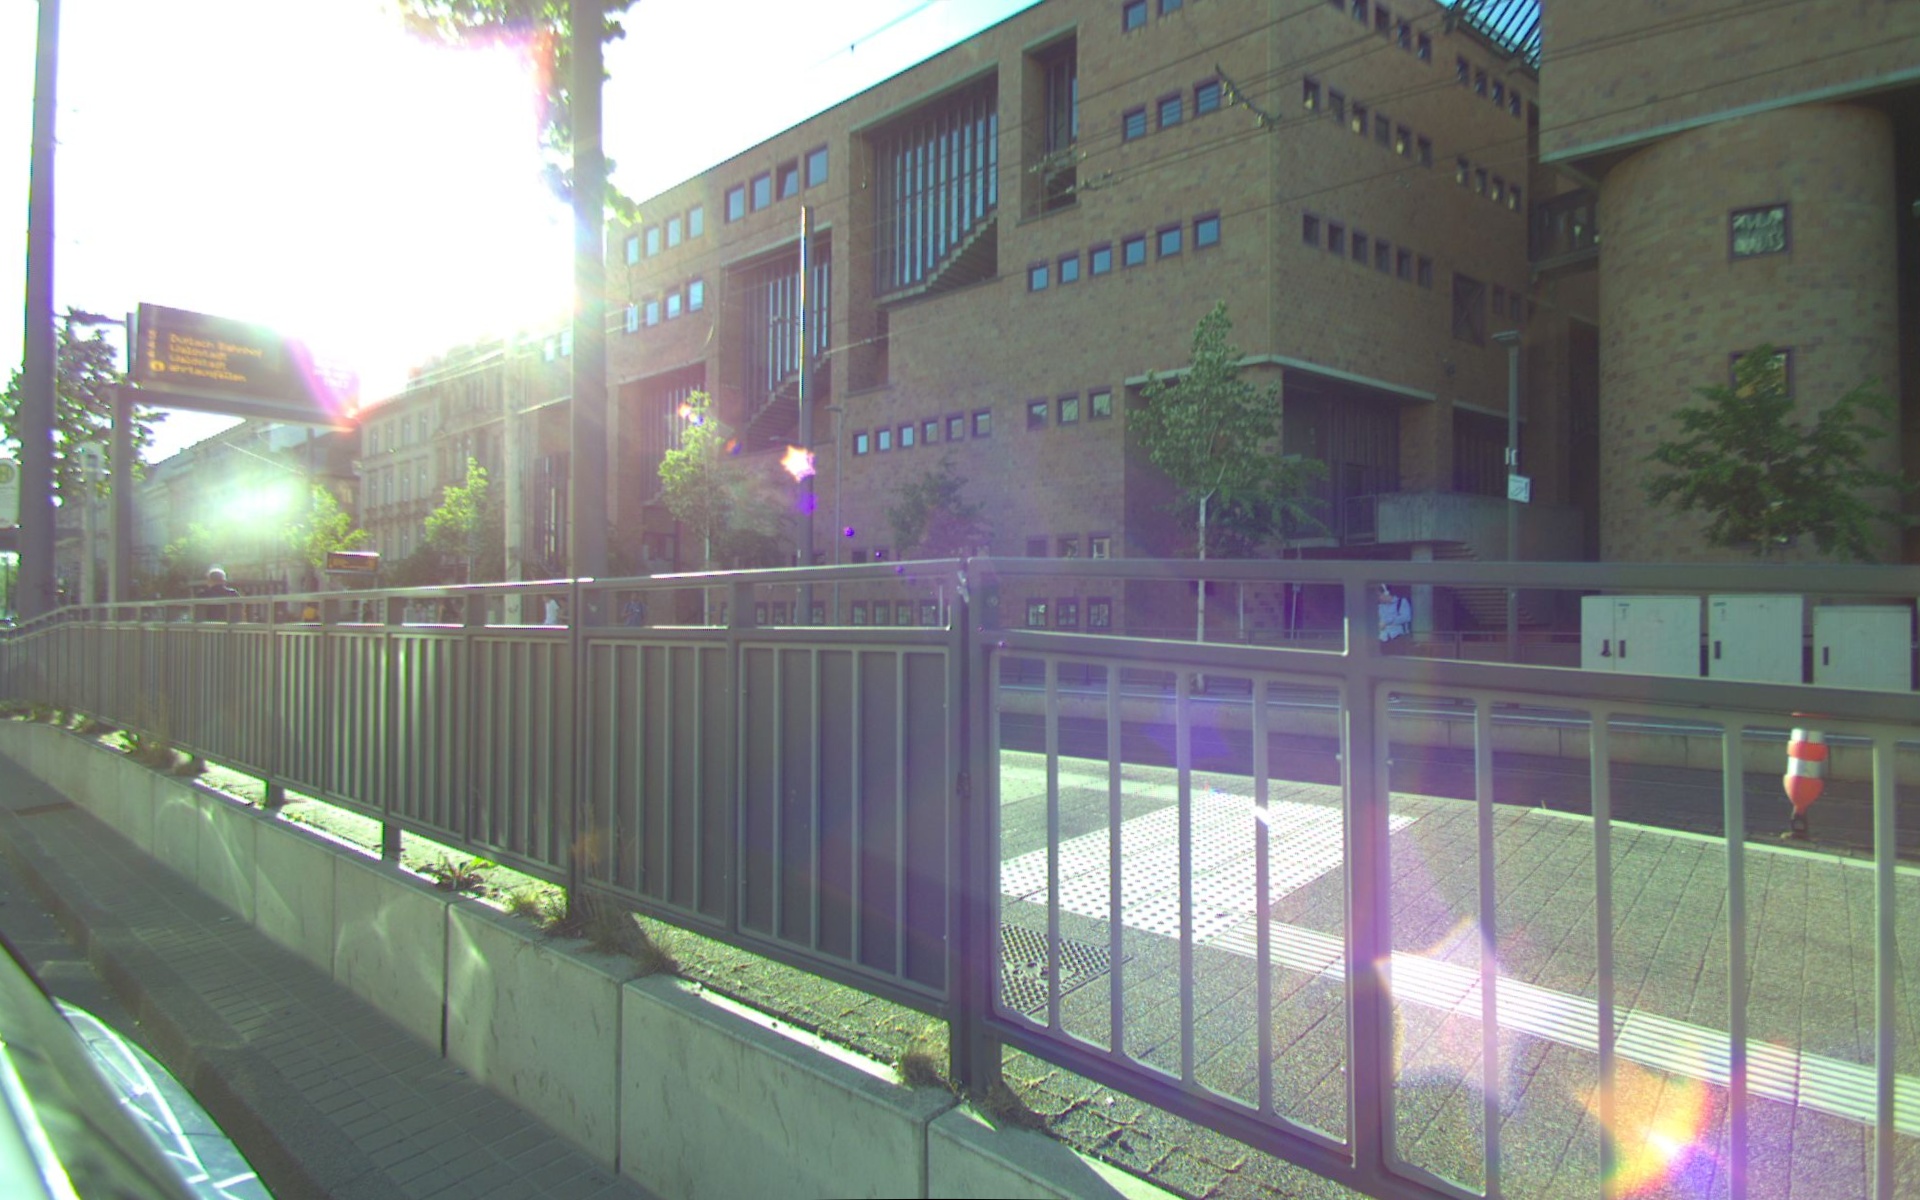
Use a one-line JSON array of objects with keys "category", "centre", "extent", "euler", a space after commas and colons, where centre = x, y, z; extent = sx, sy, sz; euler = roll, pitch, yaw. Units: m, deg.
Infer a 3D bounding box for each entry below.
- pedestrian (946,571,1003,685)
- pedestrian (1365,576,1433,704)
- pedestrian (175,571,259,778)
[{"category": "pedestrian", "centre": [0.240, 0.448, 16.652], "extent": [0.668, 1.821, 0.677], "euler": [0, 0, 40]}, {"category": "pedestrian", "centre": [5.815, 0.509, 13.410], "extent": [0.684, 1.647, 0.660], "euler": [0, 0, 37]}, {"category": "pedestrian", "centre": [-9.131, 0.880, 12.446], "extent": [0.625, 2.461, 0.676], "euler": [0, 0, 38]}]
